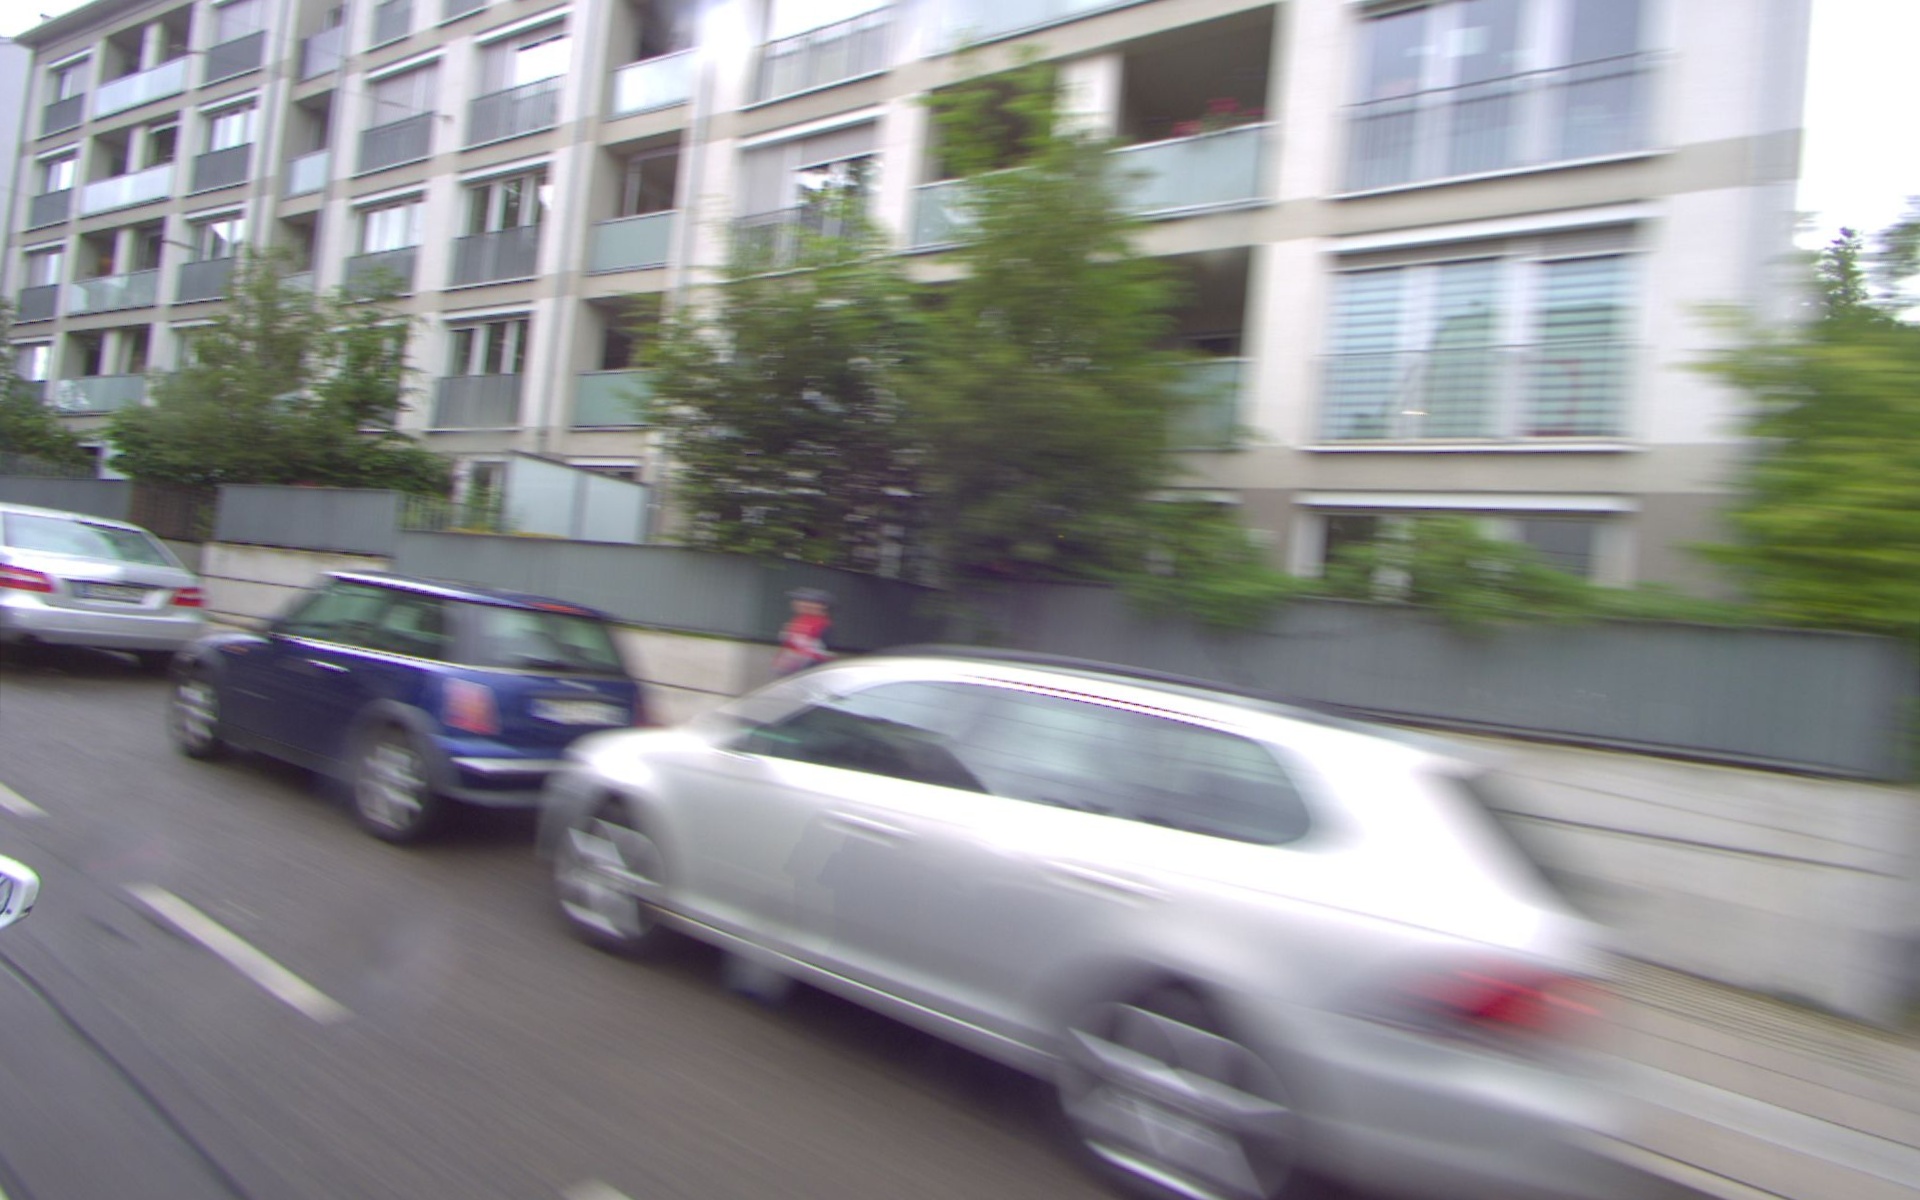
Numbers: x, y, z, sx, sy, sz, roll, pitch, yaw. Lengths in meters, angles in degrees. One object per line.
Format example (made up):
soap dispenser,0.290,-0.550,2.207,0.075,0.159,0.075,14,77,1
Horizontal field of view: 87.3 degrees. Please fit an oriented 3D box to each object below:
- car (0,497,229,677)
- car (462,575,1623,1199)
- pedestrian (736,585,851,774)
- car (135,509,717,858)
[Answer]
car,-9.667,-0.286,10.267,4.560,1.452,1.765,7,-1,30
car,0.030,0.930,4.216,4.435,1.488,1.664,7,-3,34
pedestrian,-1.486,0.699,8.990,0.641,1.562,0.569,8,2,36
car,-3.631,0.406,6.712,3.652,1.530,1.704,7,-1,32
